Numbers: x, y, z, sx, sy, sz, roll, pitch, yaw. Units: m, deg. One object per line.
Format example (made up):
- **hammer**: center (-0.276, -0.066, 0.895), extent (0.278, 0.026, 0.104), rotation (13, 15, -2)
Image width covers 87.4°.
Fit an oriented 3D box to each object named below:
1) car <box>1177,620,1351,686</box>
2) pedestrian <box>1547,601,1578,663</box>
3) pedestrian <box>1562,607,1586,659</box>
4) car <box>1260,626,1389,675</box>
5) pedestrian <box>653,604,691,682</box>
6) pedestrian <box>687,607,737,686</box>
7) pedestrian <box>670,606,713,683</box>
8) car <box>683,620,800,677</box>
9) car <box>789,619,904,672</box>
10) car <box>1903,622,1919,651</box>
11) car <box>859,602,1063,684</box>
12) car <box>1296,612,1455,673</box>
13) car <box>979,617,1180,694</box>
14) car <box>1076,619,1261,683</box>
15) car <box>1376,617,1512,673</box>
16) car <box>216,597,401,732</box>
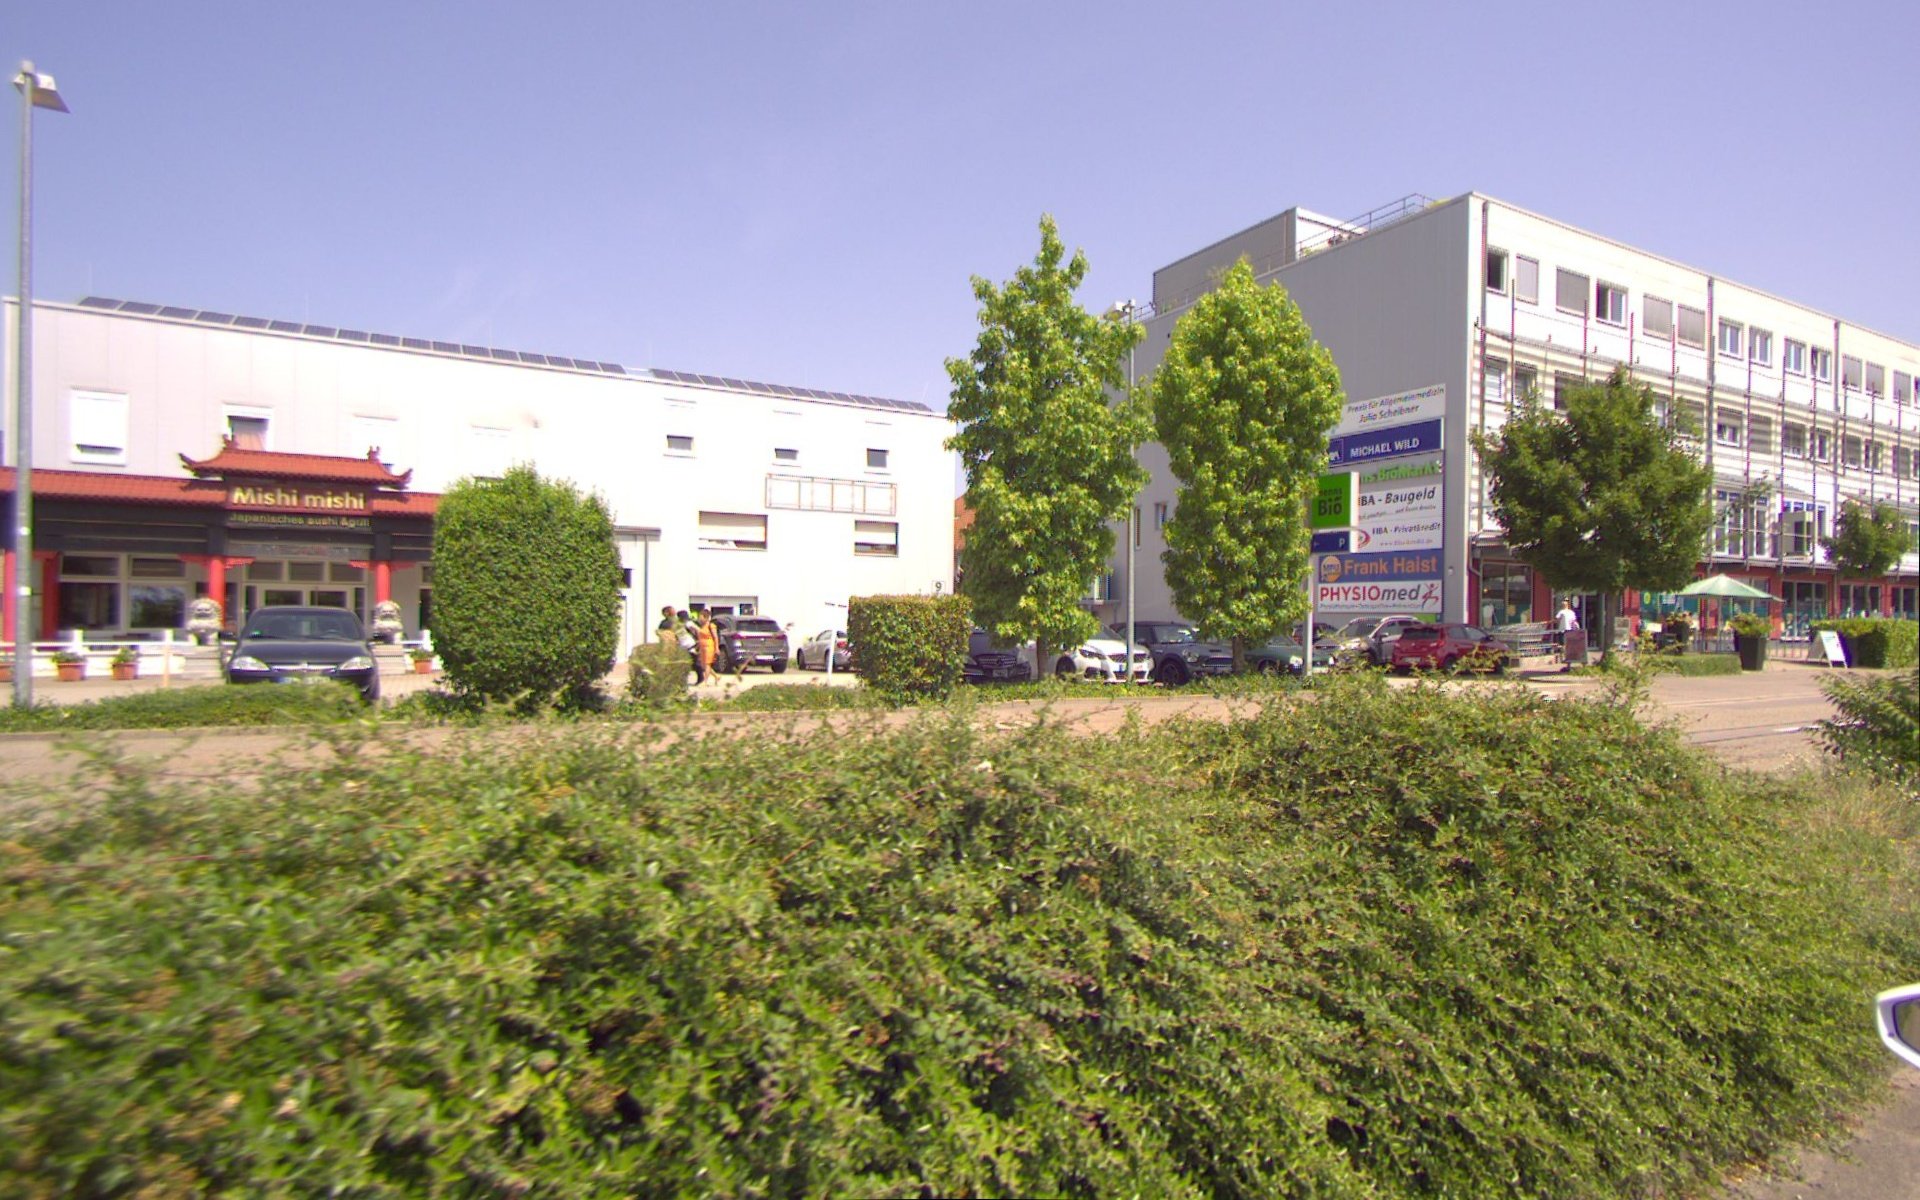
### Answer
- **car**: center (6.807, 1.165, 22.849), extent (1.758, 1.382, 3.644), rotation (1, -2, -28)
- **pedestrian**: center (18.416, 0.976, 30.705), extent (0.492, 1.891, 0.672), rotation (1, -1, -29)
- **pedestrian**: center (19.521, 1.054, 31.931), extent (0.387, 1.641, 0.527), rotation (1, -1, -29)
- **car**: center (11.761, 1.606, 32.346), extent (3.951, 1.484, 1.732), rotation (1, -3, -29)
- **pedestrian**: center (-6.362, 0.950, 22.206), extent (0.618, 1.678, 0.543), rotation (3, 0, -31)
- **pedestrian**: center (-5.205, 0.970, 21.079), extent (0.816, 1.605, 0.638), rotation (3, 0, -31)
- **pedestrian**: center (-5.774, 0.949, 21.616), extent (0.695, 1.599, 0.577), rotation (3, 0, -31)
- **car**: center (-6.326, 1.328, 28.782), extent (1.944, 1.487, 3.947), rotation (1, -1, -34)
- **car**: center (-3.516, 1.379, 30.554), extent (2.049, 1.486, 3.955), rotation (1, -3, -31)
- **car**: center (54.580, 2.105, 56.030), extent (3.951, 1.567, 1.762), rotation (3, -2, -29)
- **car**: center (-0.109, 0.779, 18.844), extent (2.020, 1.360, 4.127), rotation (1, -2, -31)
- **car**: center (12.745, 1.288, 30.709), extent (5.105, 1.757, 1.751), rotation (1, -3, -30)
- **car**: center (2.278, 1.067, 20.266), extent (1.957, 1.366, 4.205), rotation (1, -2, -30)
- **car**: center (4.369, 1.052, 21.580), extent (1.838, 1.246, 3.821), rotation (1, -2, -30)
- **car**: center (13.725, 1.264, 28.462), extent (3.753, 1.486, 1.652), rotation (1, -3, -30)
- **car**: center (-8.752, 0.799, 13.773), extent (1.755, 1.550, 3.466), rotation (3, -1, -28)
